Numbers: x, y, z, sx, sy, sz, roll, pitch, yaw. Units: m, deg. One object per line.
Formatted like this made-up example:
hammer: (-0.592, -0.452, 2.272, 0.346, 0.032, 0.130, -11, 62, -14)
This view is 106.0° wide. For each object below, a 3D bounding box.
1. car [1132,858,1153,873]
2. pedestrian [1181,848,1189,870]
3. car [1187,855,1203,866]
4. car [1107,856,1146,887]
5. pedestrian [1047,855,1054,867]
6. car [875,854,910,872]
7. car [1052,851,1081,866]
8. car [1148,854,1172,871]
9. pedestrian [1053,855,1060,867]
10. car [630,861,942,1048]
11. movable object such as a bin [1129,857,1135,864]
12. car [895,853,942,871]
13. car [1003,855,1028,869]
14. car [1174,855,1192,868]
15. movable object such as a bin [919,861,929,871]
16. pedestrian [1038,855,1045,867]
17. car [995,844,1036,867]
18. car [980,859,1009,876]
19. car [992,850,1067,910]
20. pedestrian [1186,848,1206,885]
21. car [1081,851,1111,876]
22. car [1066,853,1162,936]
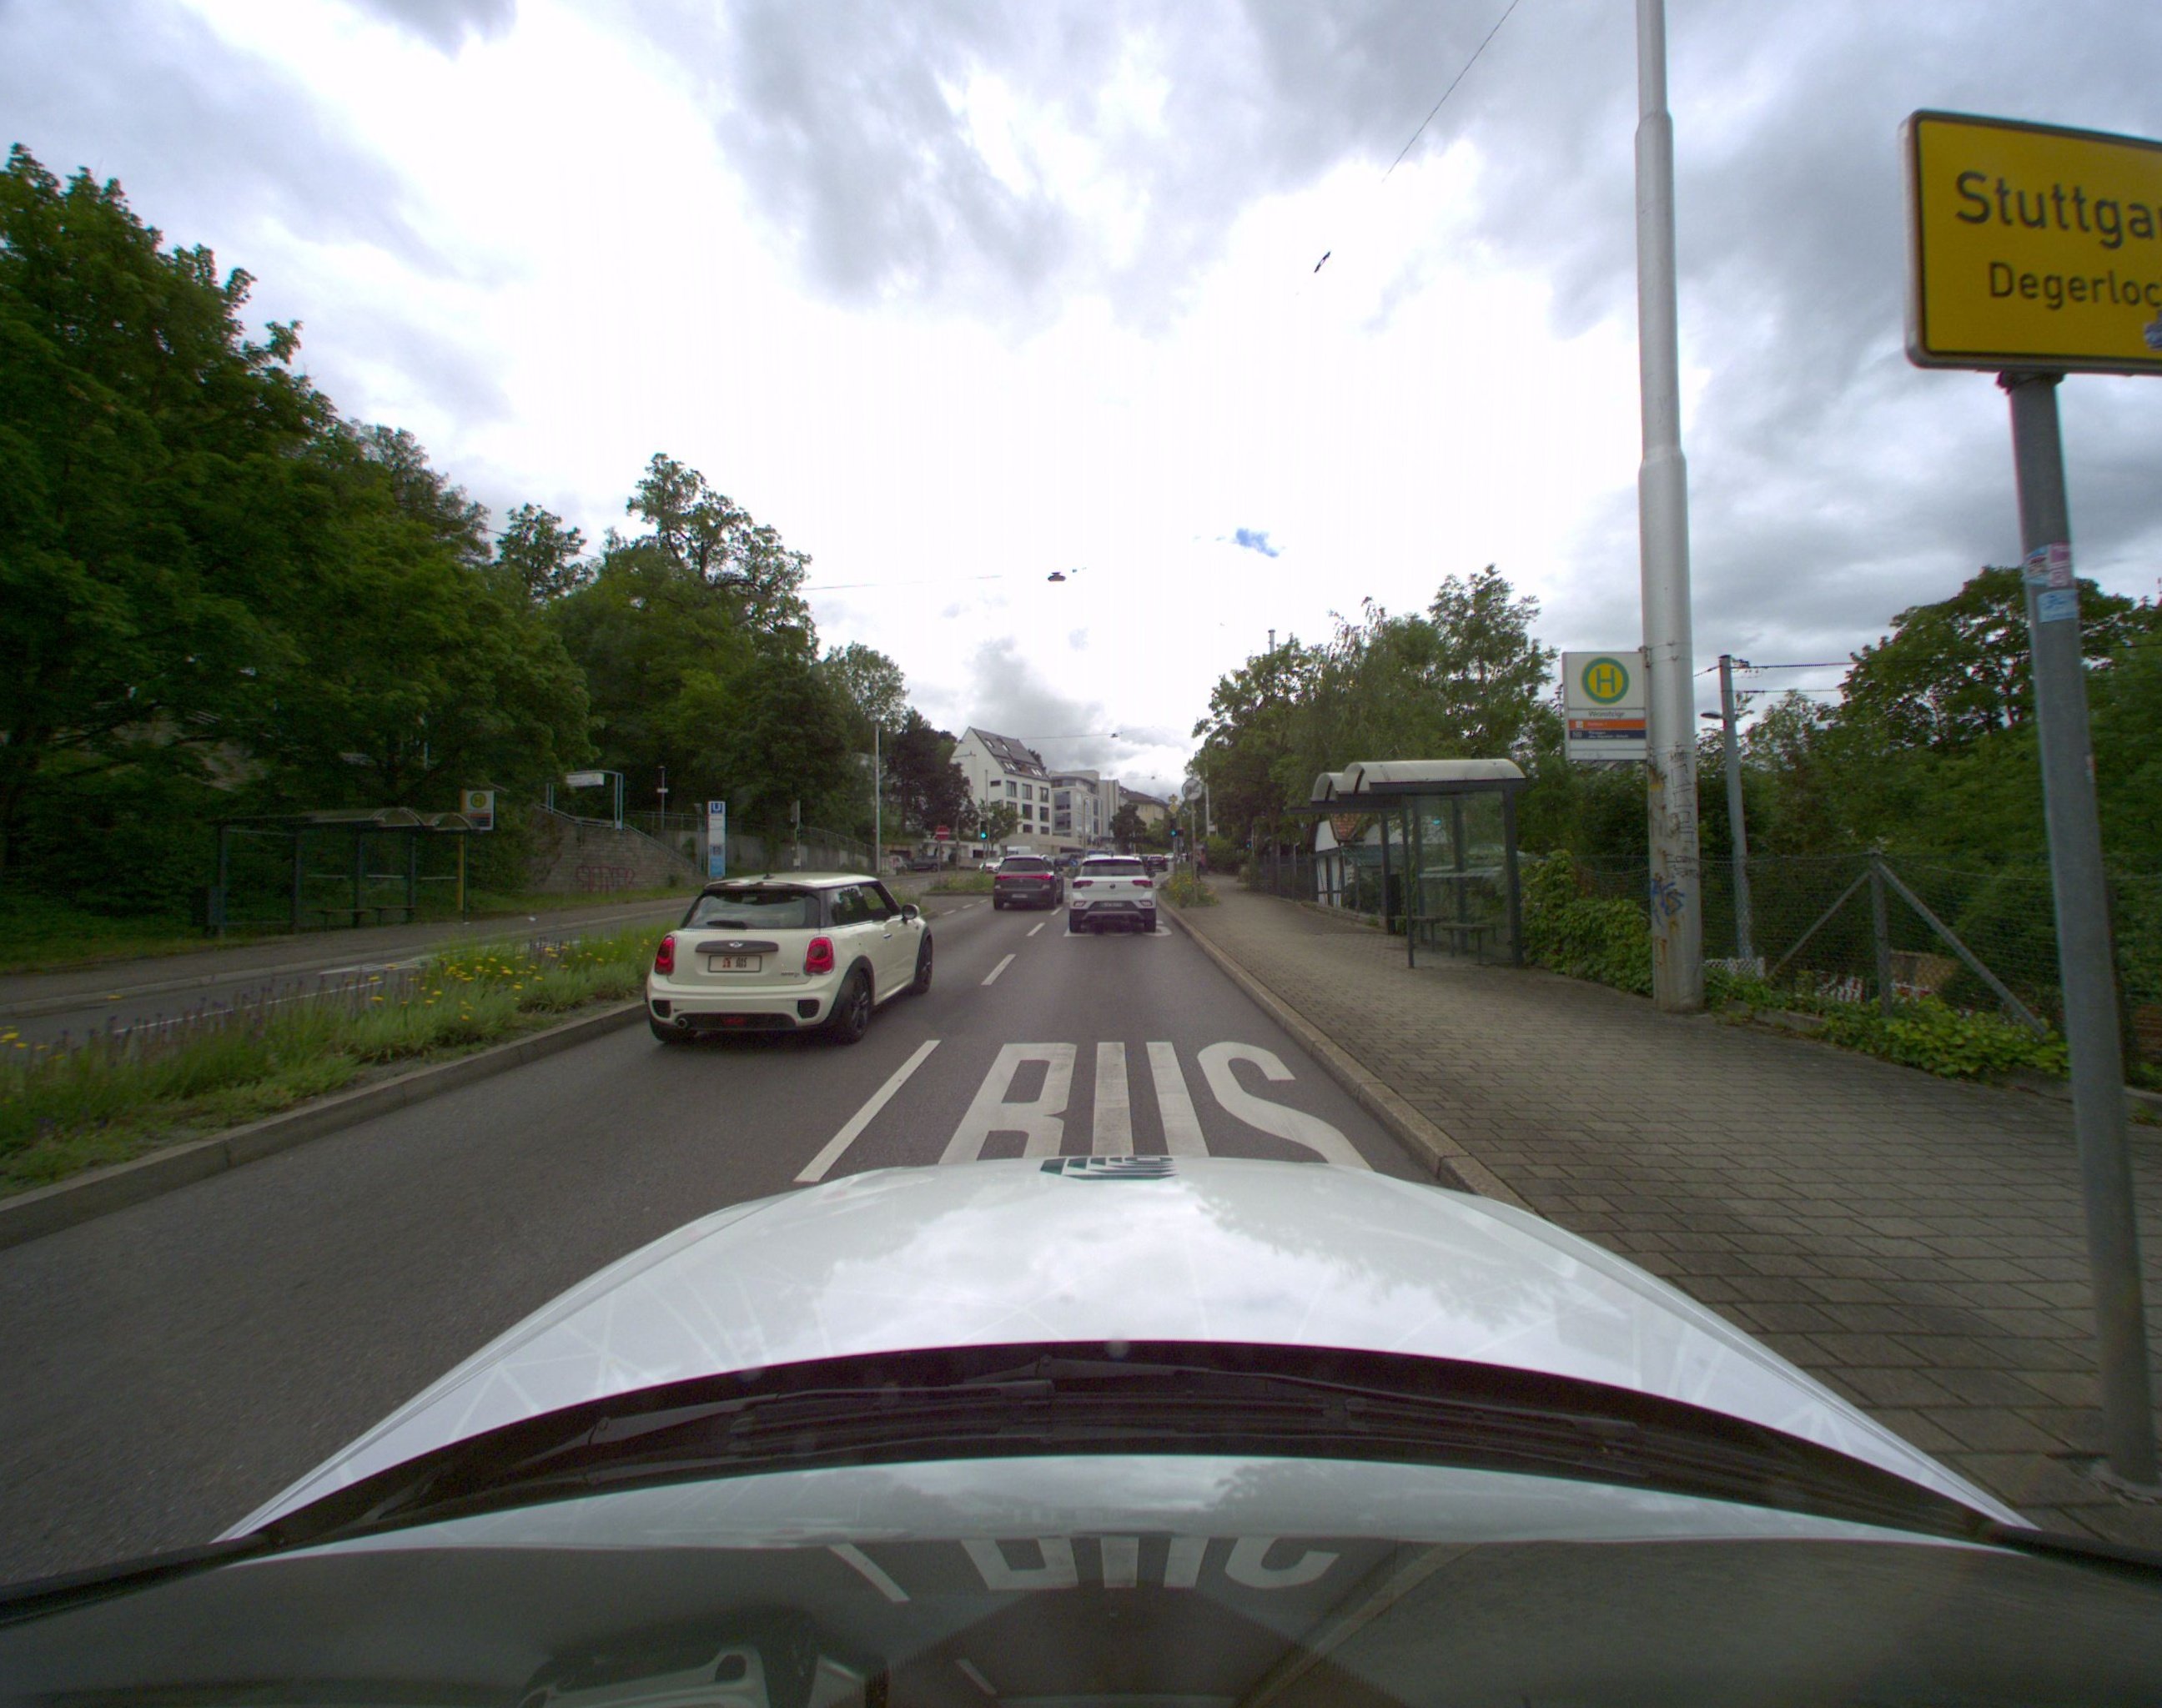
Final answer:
car: (6.616, 1.218, 87.834, 1.847, 1.500, 4.066, -2, 0, 9)
pedestrian: (8.902, 0.422, 69.769, 0.689, 1.834, 0.621, 0, 0, 9)
car: (17.151, 0.949, 122.271, 1.844, 1.500, 4.072, -2, 0, 16)
car: (2.498, 0.889, 43.635, 1.864, 1.501, 4.562, 2, 0, 5)
pedestrian: (-4.125, 0.972, 109.316, 0.678, 1.640, 0.665, 1, 0, -31)
car: (-16.358, 0.773, 70.671, 2.712, 1.520, 1.553, 2, -1, -22)
car: (-1.909, 0.574, 110.834, 1.965, 1.967, 5.247, -1, 0, 23)
car: (7.441, 0.820, 76.363, 1.862, 1.501, 4.566, 2, 0, 9)
pedestrian: (-3.319, 0.896, 111.820, 0.678, 1.640, 0.665, 1, 0, -31)
car: (-2.613, 0.800, 8.141, 1.621, 1.393, 3.569, -2, 0, 3)
movable object such as a bin: (8.080, 1.054, 128.641, 0.639, 0.990, 0.664, -1, 0, 27)
car: (-15.004, 0.729, 75.395, 4.119, 1.540, 1.593, -1, 0, -10)
car: (-7.238, 0.889, 90.758, 1.610, 1.465, 3.941, -1, 0, 14)
car: (12.532, 0.881, 99.900, 1.845, 1.500, 4.069, -2, 0, 12)
movable object such as a bin: (-15.868, 1.195, 82.482, 0.633, 1.012, 0.735, 0, -1, 38)
pedestrian: (-5.303, 0.960, 109.407, 0.620, 1.640, 0.676, 1, 0, 24)
car: (-7.794, 0.148, 97.554, 2.213, 2.568, 7.456, -1, 0, 18)
car: (-7.683, 1.151, 72.847, 1.710, 1.393, 4.614, -1, 0, 4)
car: (-1.513, 0.735, 25.549, 1.805, 1.652, 4.639, -2, 0, 3)
pedestrian: (5.397, 0.599, 38.165, 0.687, 1.689, 0.623, -3, -2, 23)
car: (1.106, 0.636, 58.157, 1.849, 1.652, 4.641, -2, 0, 4)
car: (0.654, 0.784, 17.591, 1.805, 1.539, 3.689, -2, 0, 0)
